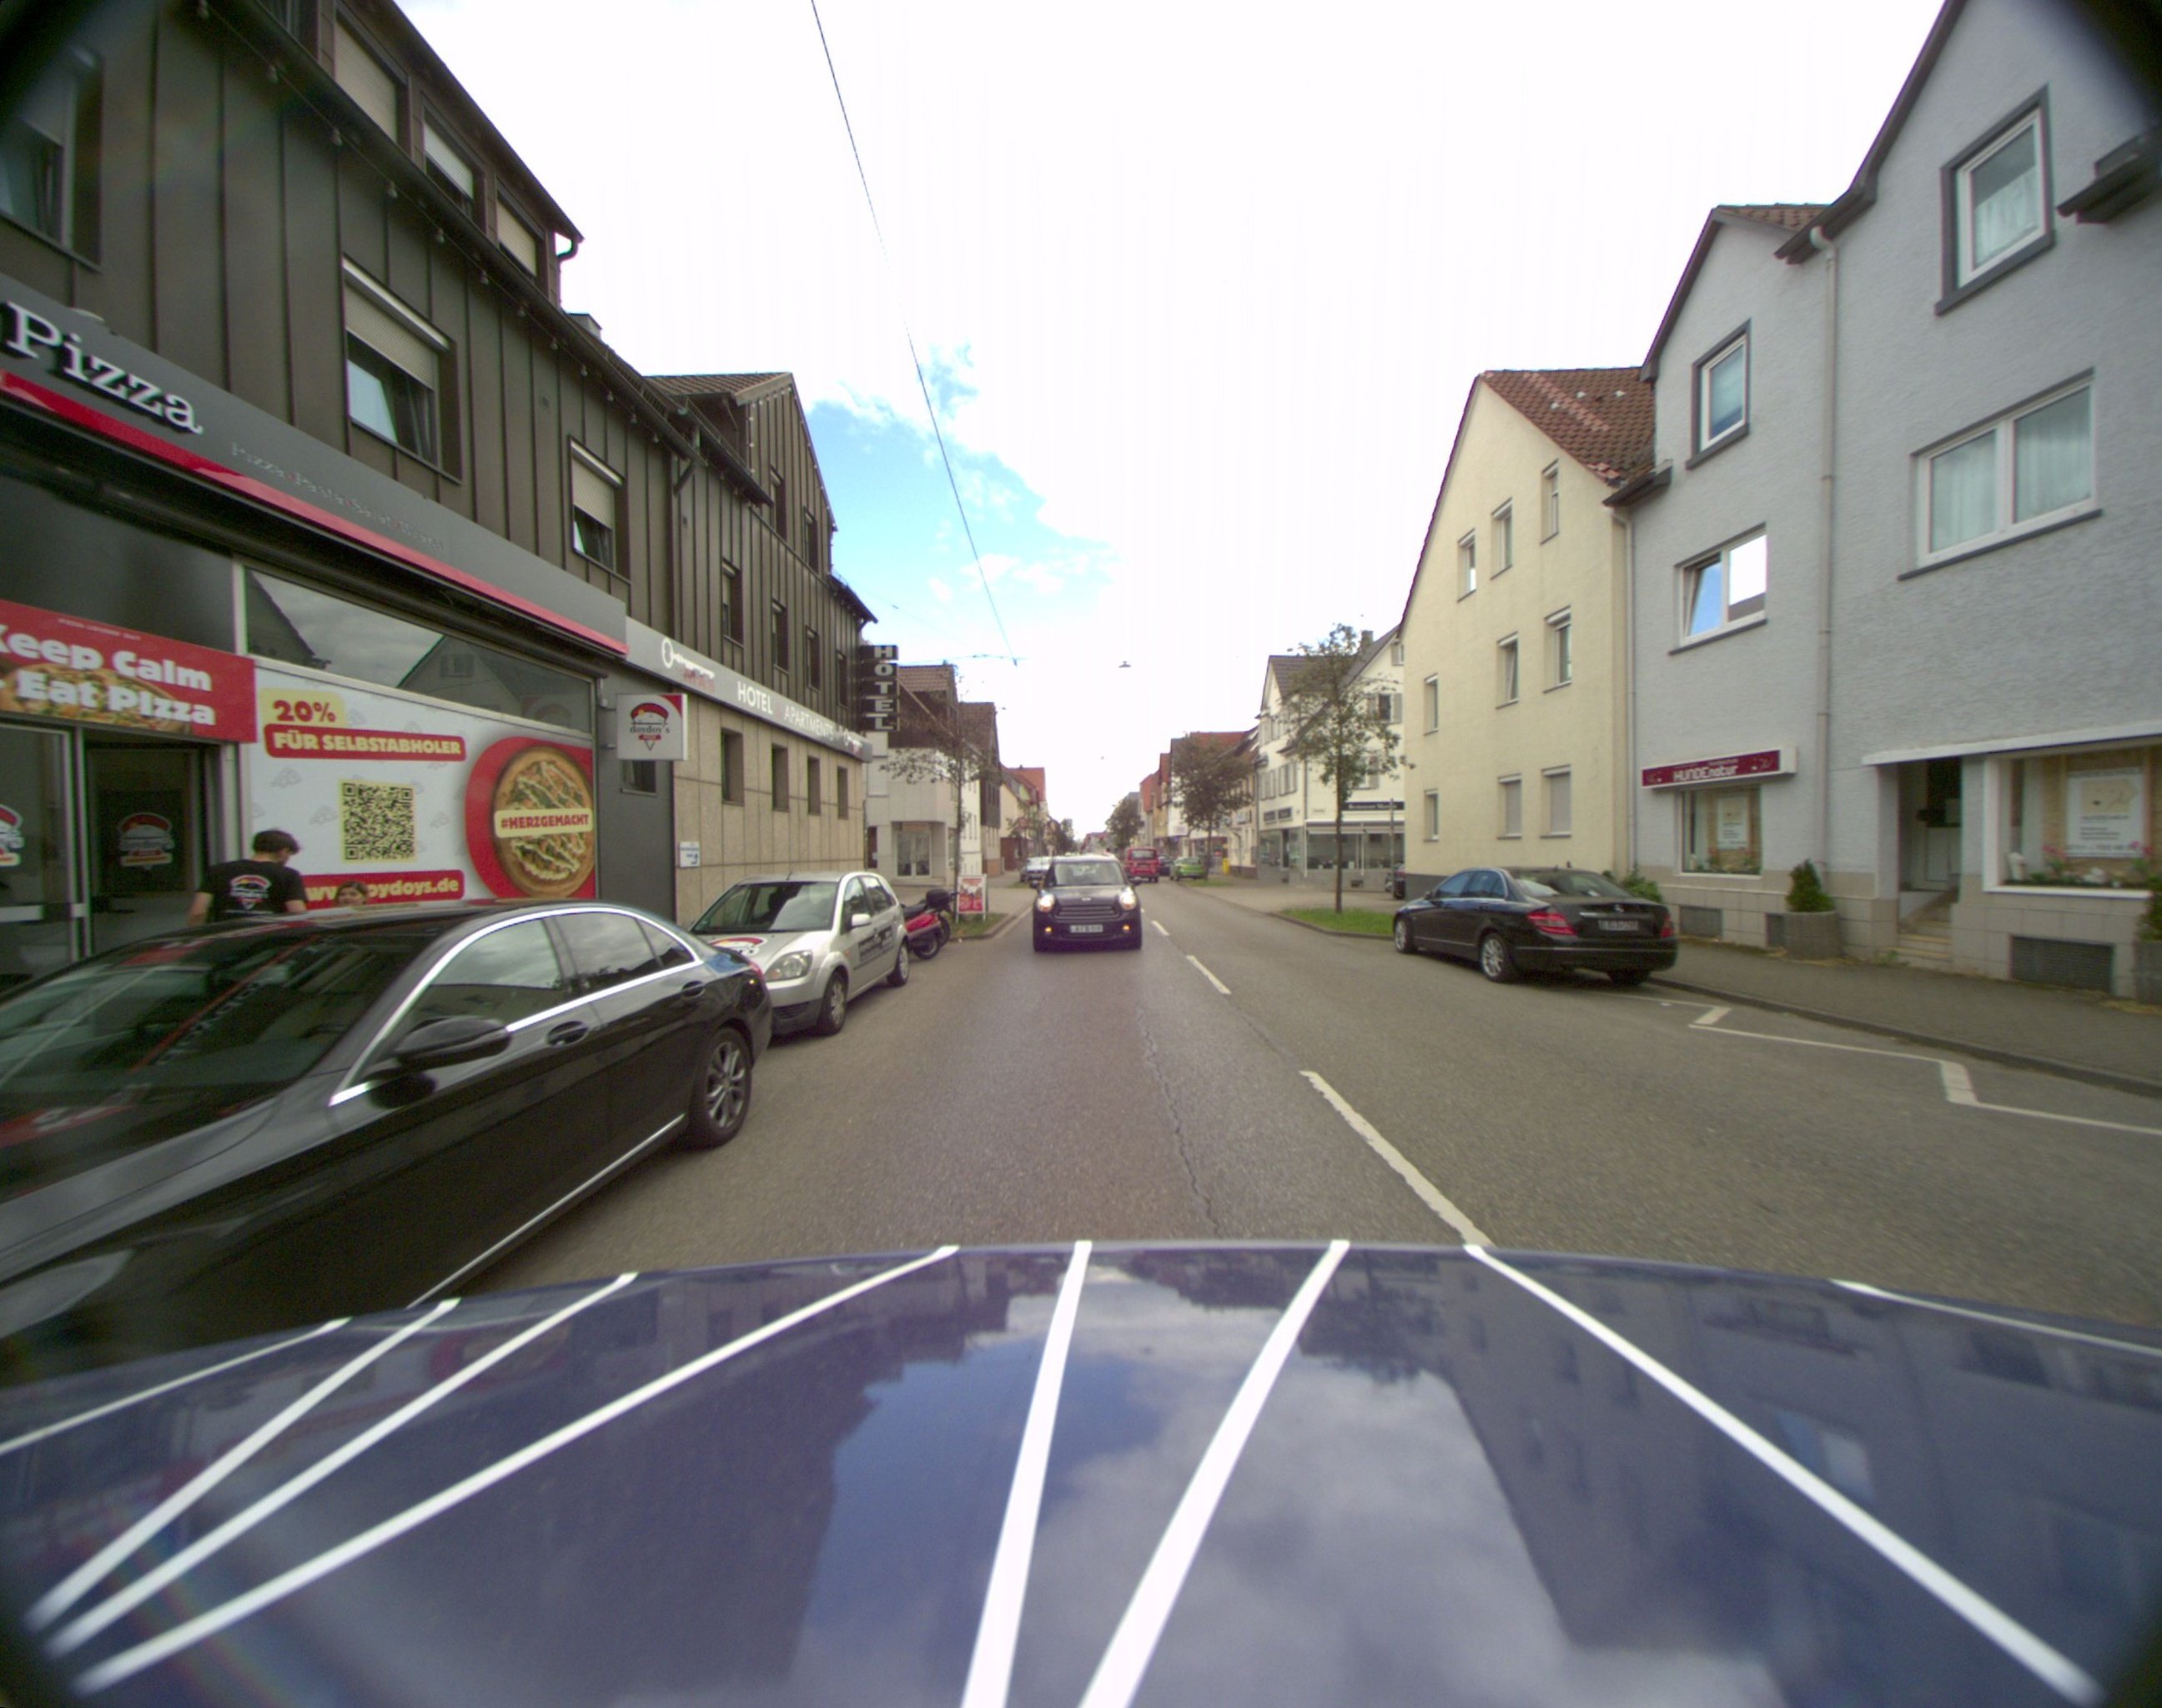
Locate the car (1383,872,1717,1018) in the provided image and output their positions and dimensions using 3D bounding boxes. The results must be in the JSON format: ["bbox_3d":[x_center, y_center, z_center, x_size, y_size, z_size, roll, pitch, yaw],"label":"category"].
[{"bbox_3d":[5.785,1.010,10.155,1.792,1.409,4.341,0,0,0],"label":"car"}]

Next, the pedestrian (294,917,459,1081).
[{"bbox_3d":[-5.679,1.143,6.164,0.742,1.204,0.644,1,1,0],"label":"pedestrian"}]

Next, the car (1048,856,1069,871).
[{"bbox_3d":[-2.172,0.886,73.756,1.794,1.397,3.949,1,0,1],"label":"car"}]

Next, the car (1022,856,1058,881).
[{"bbox_3d":[-2.360,0.828,44.523,1.794,1.356,3.949,1,0,1],"label":"car"}]

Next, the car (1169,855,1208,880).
[{"bbox_3d":[6.386,0.771,45.492,1.715,1.389,3.900,-1,0,-1],"label":"car"}]

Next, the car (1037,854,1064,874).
[{"bbox_3d":[-2.269,0.743,57.531,1.794,1.397,3.949,1,0,1],"label":"car"}]

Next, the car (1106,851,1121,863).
[{"bbox_3d":[4.027,0.395,94.207,1.779,1.446,4.000,-1,0,1],"label":"car"}]

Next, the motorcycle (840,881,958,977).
[{"bbox_3d":[-2.681,1.070,11.224,1.588,1.284,0.500,-1,1,-29],"label":"motorcycle"}]

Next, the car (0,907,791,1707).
[{"bbox_3d":[-2.817,1.069,2.631,1.829,1.400,4.565,-1,0,0],"label":"car"}]

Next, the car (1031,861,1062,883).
[{"bbox_3d":[-2.280,1.215,51.589,1.794,1.356,3.949,1,0,1],"label":"car"}]

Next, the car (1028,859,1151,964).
[{"bbox_3d":[0.107,0.889,13.941,1.855,1.527,4.736,-1,0,-1],"label":"car"}]

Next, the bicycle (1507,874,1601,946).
[{"bbox_3d":[8.917,1.014,14.418,0.515,1.189,2.024,-1,0,0],"label":"bicycle"}]

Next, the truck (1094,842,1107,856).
[{"bbox_3d":[4.175,-1.033,164.080,2.799,3.020,8.251,-1,0,1],"label":"truck"}]

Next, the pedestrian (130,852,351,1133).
[{"bbox_3d":[-5.522,0.854,5.048,0.643,1.730,0.742,1,1,-4],"label":"pedestrian"}]

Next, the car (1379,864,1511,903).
[{"bbox_3d":[11.773,0.951,24.699,3.490,1.182,1.612,-1,-1,0],"label":"car"}]

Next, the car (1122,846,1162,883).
[{"bbox_3d":[3.433,0.551,43.323,1.855,1.932,4.490,1,0,-1],"label":"car"}]

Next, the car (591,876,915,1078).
[{"bbox_3d":[-3.004,1.022,7.928,1.645,1.433,3.902,-1,0,0],"label":"car"}]

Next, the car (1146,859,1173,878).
[{"bbox_3d":[6.265,1.166,61.193,1.715,1.389,3.900,-1,0,-1],"label":"car"}]

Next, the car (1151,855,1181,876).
[{"bbox_3d":[6.273,0.825,56.197,1.715,1.389,3.900,-1,0,-1],"label":"car"}]

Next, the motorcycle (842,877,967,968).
[{"bbox_3d":[-2.815,1.057,12.232,1.874,1.284,0.531,-1,1,-37],"label":"motorcycle"}]

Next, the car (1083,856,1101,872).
[{"bbox_3d":[1.183,1.030,81.125,1.855,1.615,4.737,-1,0,2],"label":"car"}]
